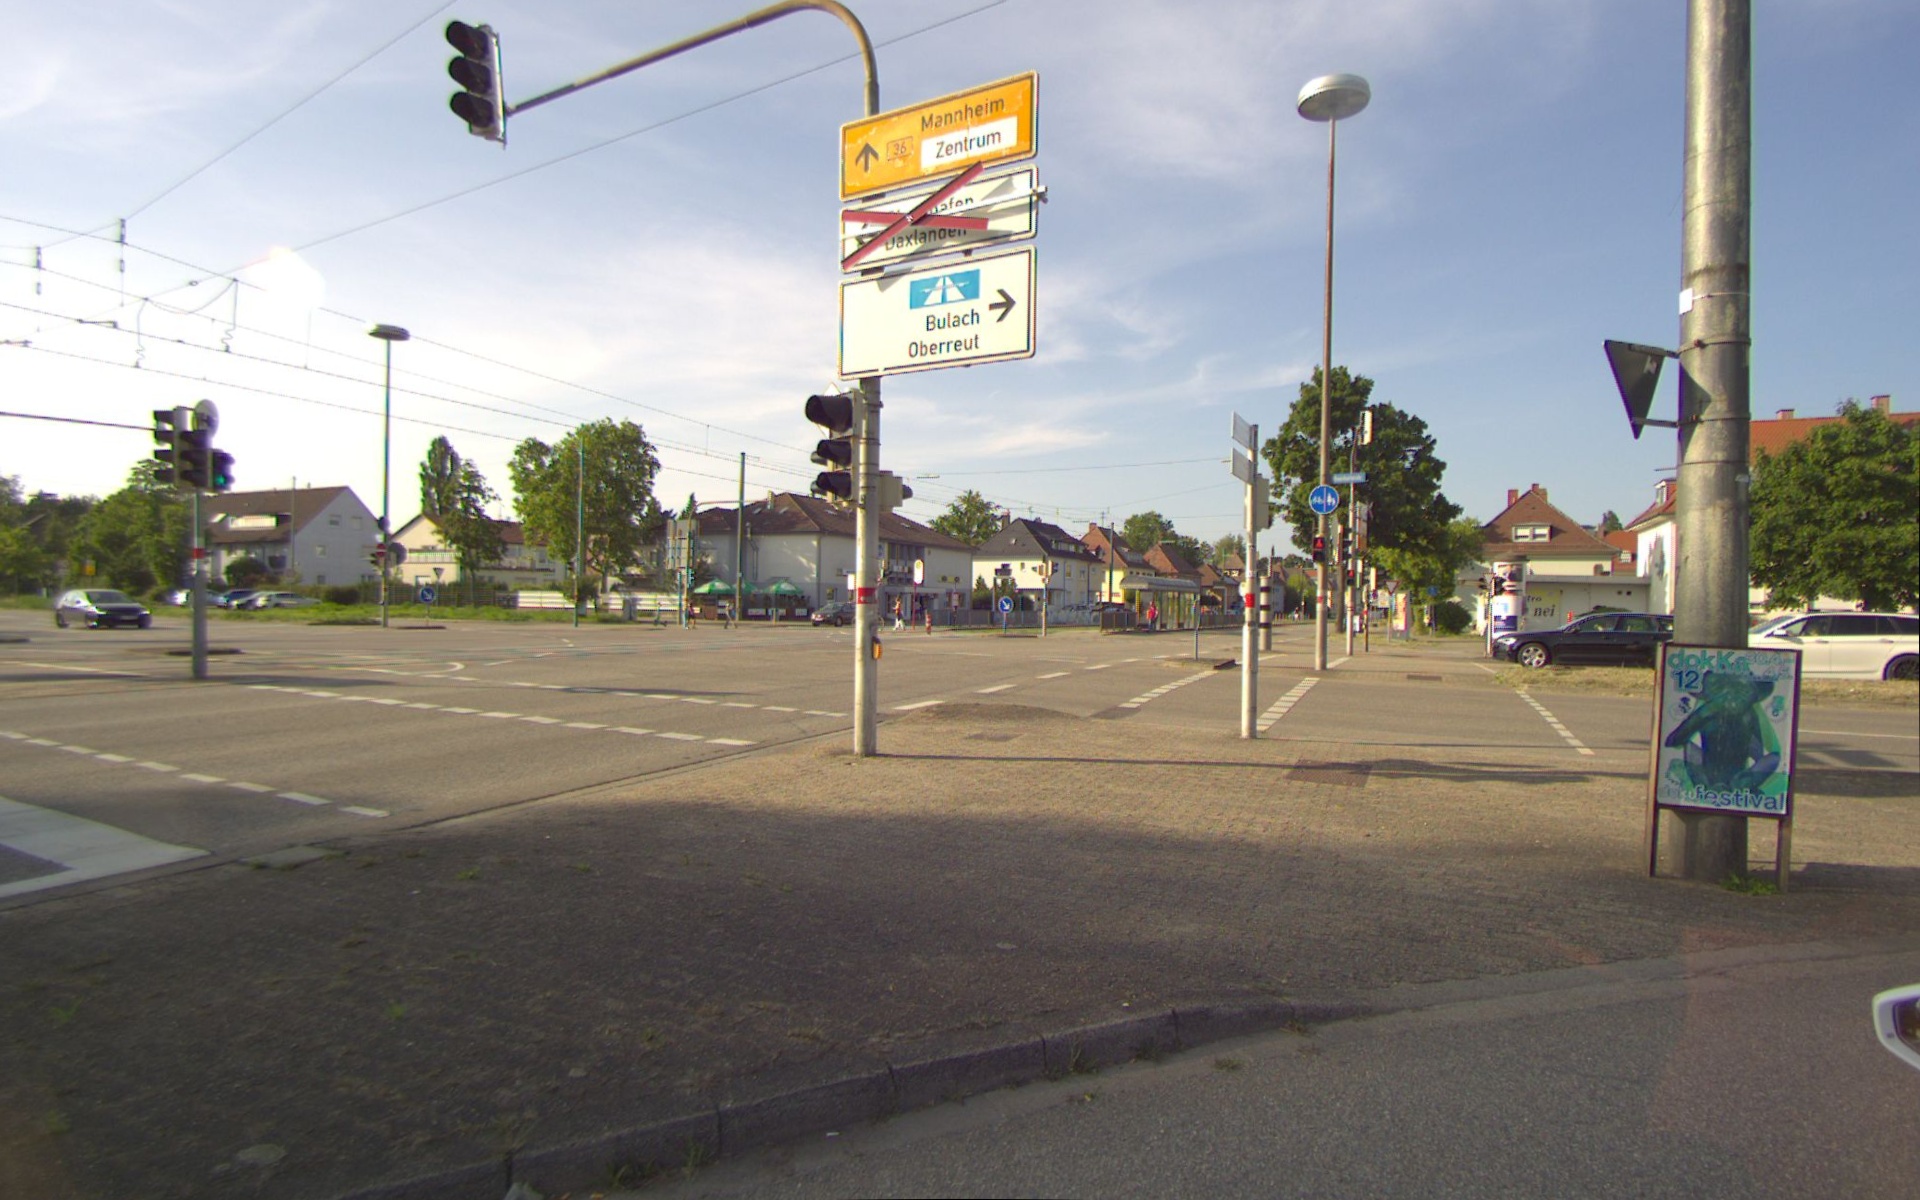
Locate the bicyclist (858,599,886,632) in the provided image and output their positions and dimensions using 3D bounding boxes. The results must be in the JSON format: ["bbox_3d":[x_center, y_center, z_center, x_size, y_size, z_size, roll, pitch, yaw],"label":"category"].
[{"bbox_3d":[-4.038,0.701,46.118,0.869,1.450,1.137,3,0,15],"label":"bicyclist"}]

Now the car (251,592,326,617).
[{"bbox_3d":[-49.944,0.347,74.766,1.965,1.706,4.212,2,-1,31],"label":"car"}]

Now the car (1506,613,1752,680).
[{"bbox_3d":[16.026,1.061,24.409,4.748,1.430,1.714,1,0,26],"label":"car"}]

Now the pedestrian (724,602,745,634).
[{"bbox_3d":[-11.775,0.935,52.420,0.736,1.620,0.812,1,0,24],"label":"pedestrian"}]

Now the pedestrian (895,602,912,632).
[{"bbox_3d":[-2.735,0.822,48.822,0.569,1.450,0.546,2,0,30],"label":"pedestrian"}]

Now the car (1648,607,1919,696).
[{"bbox_3d":[16.913,0.983,20.023,5.015,1.584,1.838,1,0,26],"label":"car"}]

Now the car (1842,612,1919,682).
[{"bbox_3d":[21.766,1.021,21.561,3.925,1.472,1.714,1,0,26],"label":"car"}]

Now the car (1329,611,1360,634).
[{"bbox_3d":[26.302,1.565,68.670,1.648,1.416,3.997,2,-1,25],"label":"car"}]

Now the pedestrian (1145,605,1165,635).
[{"bbox_3d":[10.156,1.044,52.297,0.741,1.519,0.826,2,0,27],"label":"pedestrian"}]

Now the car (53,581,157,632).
[{"bbox_3d":[-31.895,0.227,37.448,3.925,1.817,1.518,1,0,26],"label":"car"}]

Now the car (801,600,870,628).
[{"bbox_3d":[-7.351,0.827,59.616,1.962,1.528,4.605,1,0,24],"label":"car"}]

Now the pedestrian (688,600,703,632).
[{"bbox_3d":[-13.528,0.817,51.346,0.503,1.620,0.539,1,0,23],"label":"pedestrian"}]

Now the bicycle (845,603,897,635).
[{"bbox_3d":[-4.086,0.856,46.138,2.039,1.365,1.109,3,0,15],"label":"bicycle"}]
